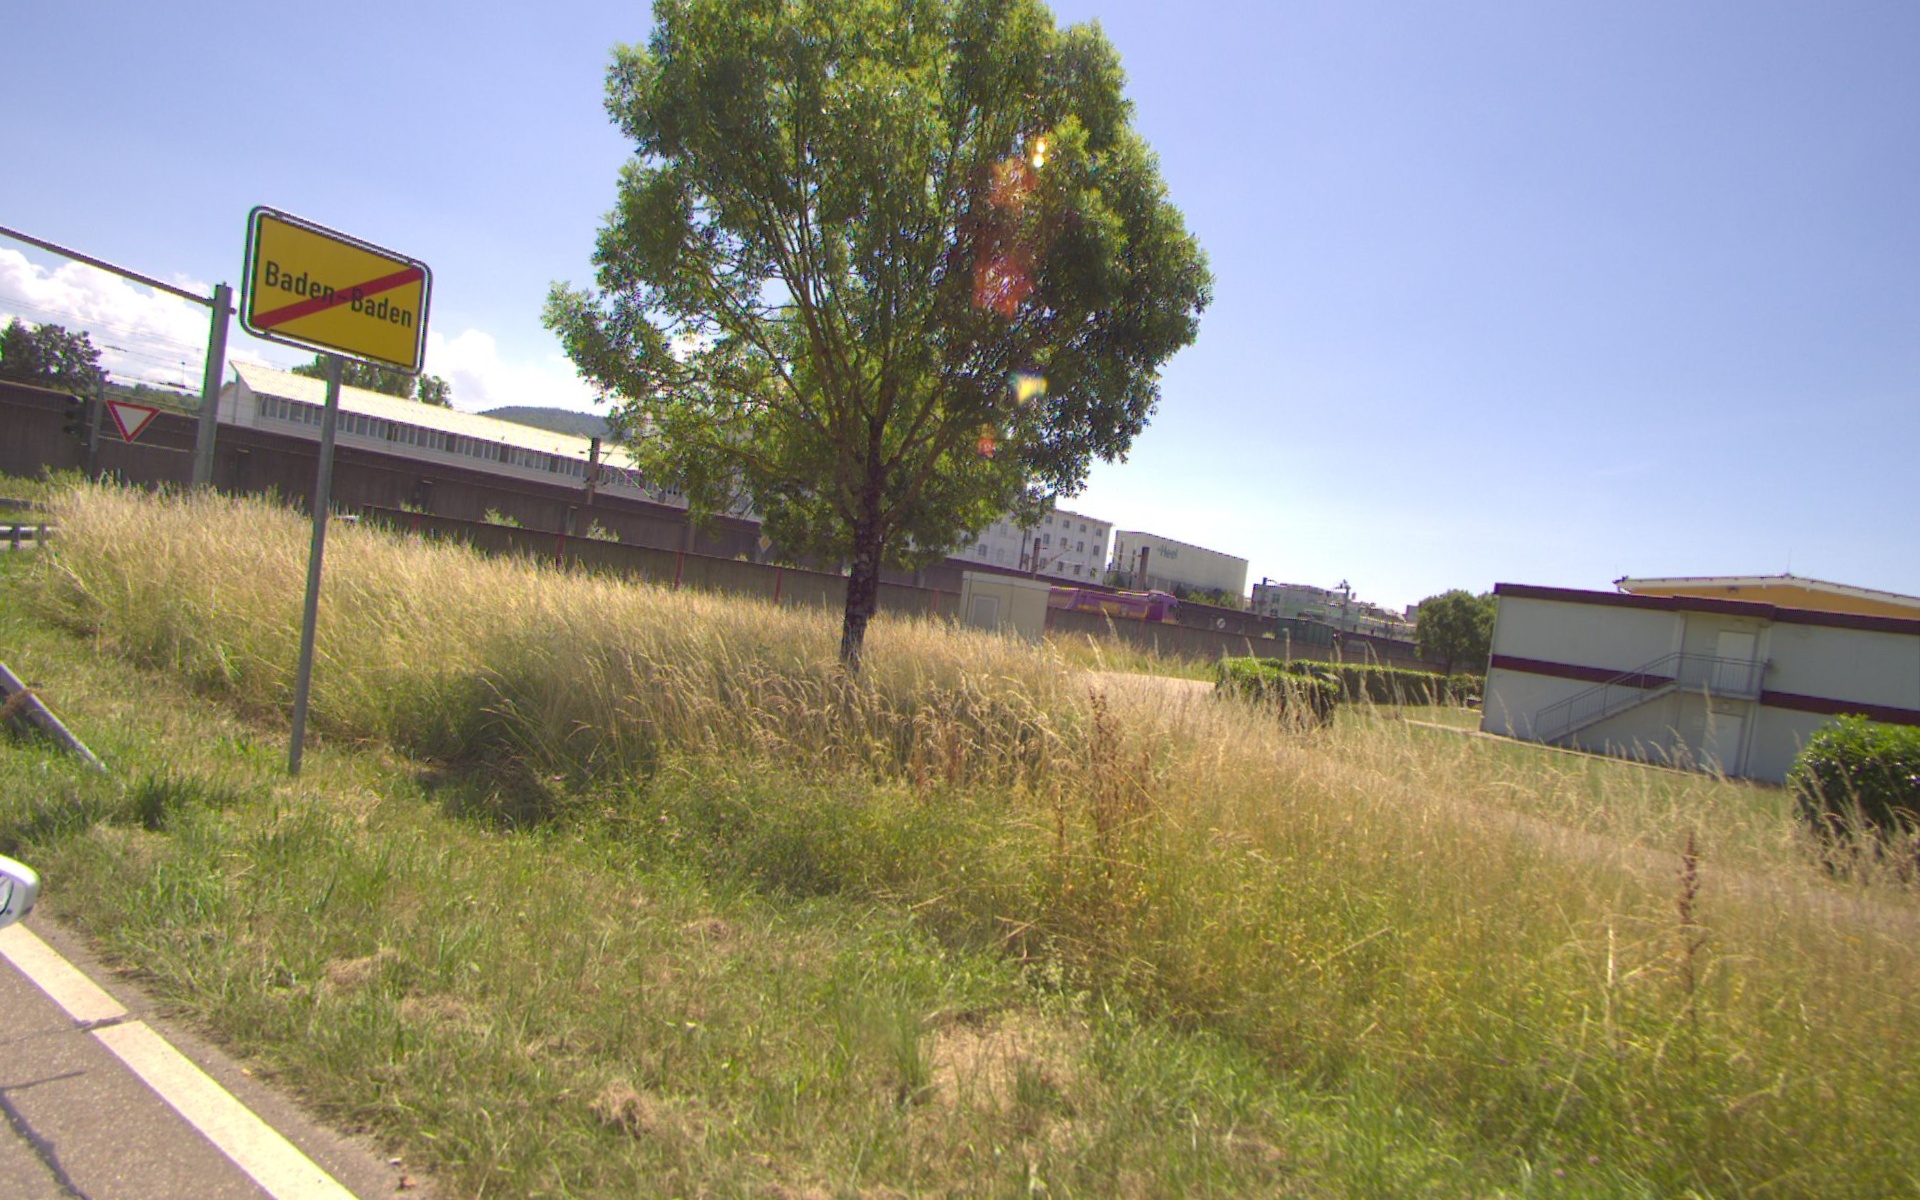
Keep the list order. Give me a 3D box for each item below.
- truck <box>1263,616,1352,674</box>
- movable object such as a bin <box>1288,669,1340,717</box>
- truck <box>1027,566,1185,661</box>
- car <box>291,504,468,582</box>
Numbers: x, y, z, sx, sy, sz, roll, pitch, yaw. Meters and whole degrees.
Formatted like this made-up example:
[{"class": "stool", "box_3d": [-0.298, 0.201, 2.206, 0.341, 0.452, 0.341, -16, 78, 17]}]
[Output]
[{"class": "truck", "box_3d": [29.275, 3.843, 84.374, 2.964, 3.763, 10.513, 7, -1, 42]}, {"class": "movable object such as a bin", "box_3d": [14.819, 3.894, 42.117, 1.540, 1.707, 1.224, 7, 0, 42]}, {"class": "truck", "box_3d": [8.886, 0.961, 59.399, 2.963, 4.229, 11.759, 7, -1, 41]}, {"class": "car", "box_3d": [-17.089, -1.651, 29.760, 1.970, 1.520, 3.988, 8, -1, 39]}]
